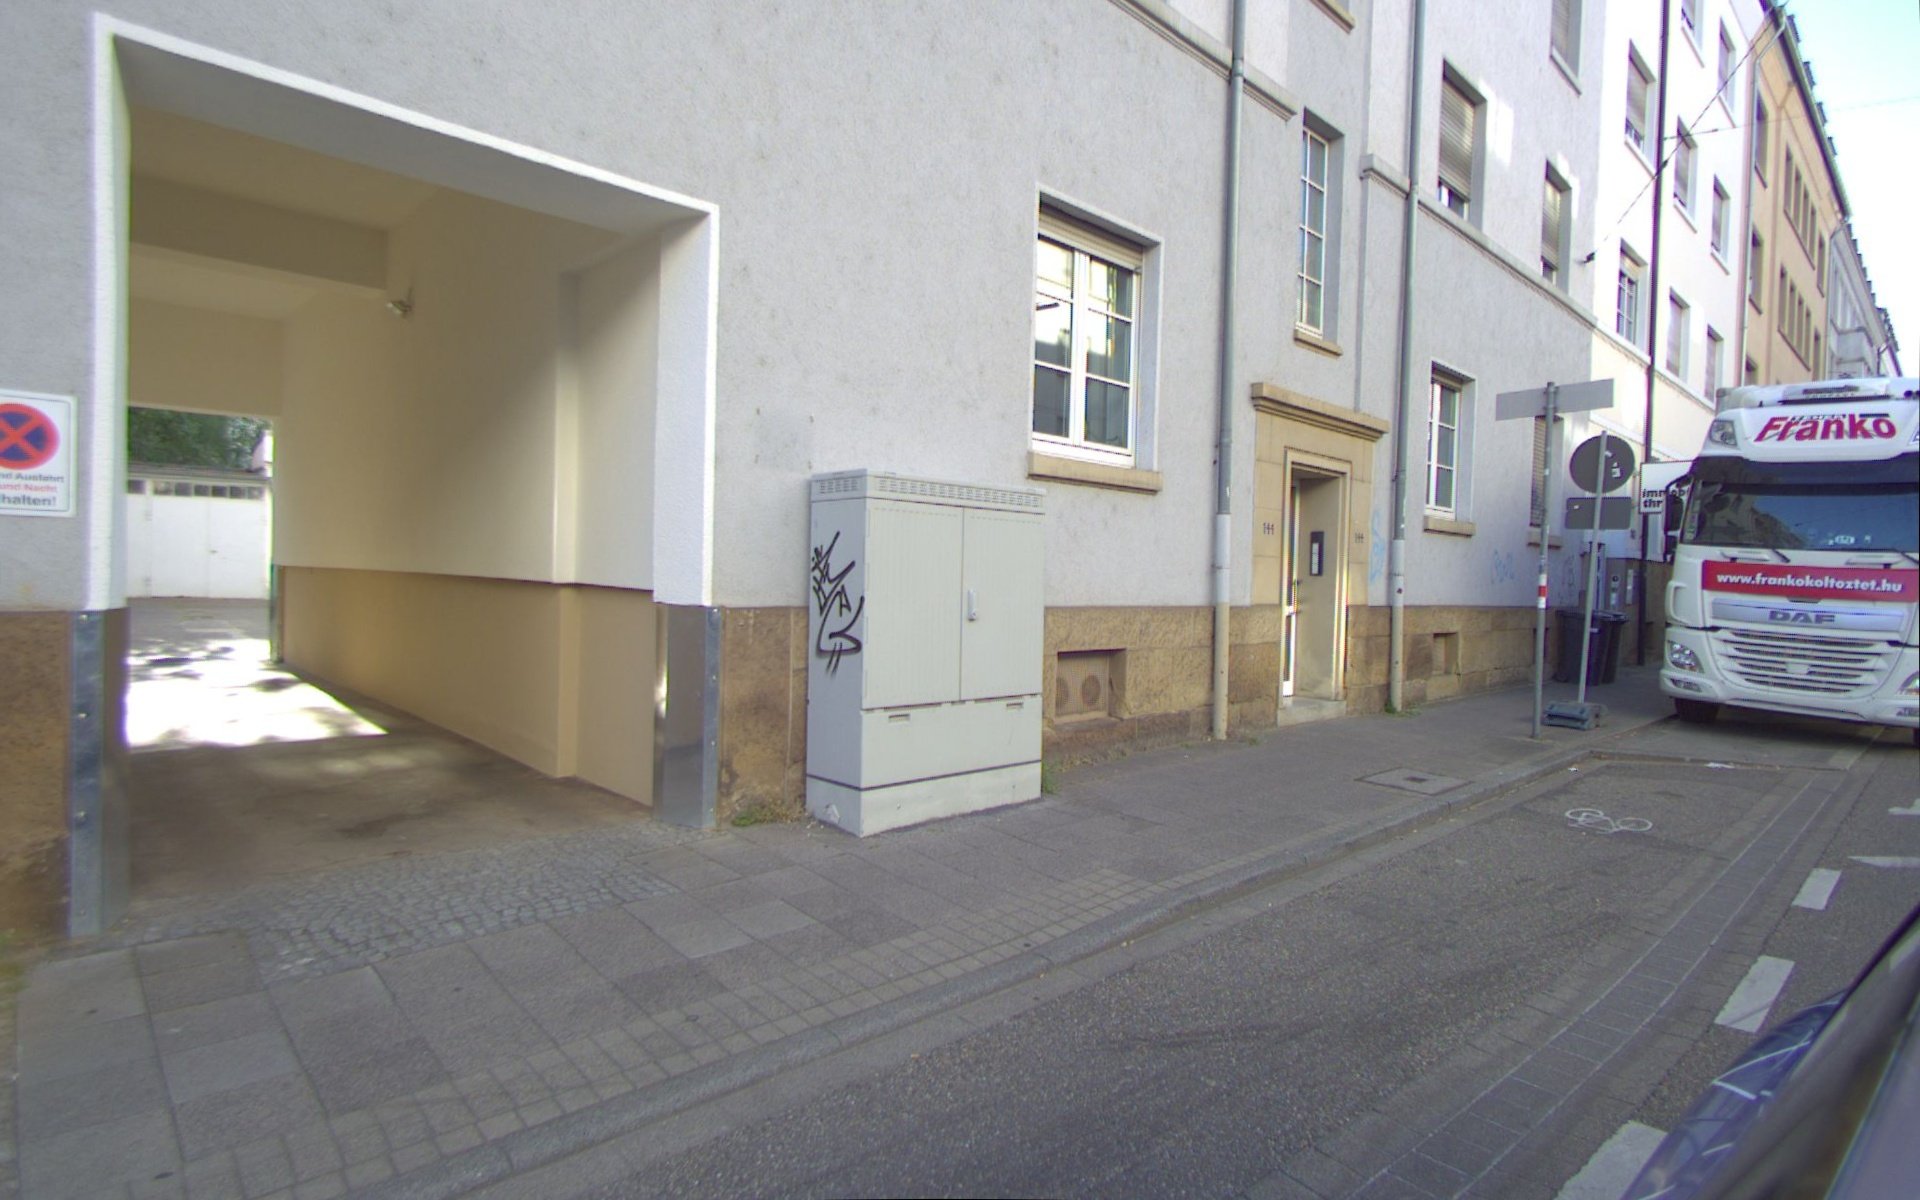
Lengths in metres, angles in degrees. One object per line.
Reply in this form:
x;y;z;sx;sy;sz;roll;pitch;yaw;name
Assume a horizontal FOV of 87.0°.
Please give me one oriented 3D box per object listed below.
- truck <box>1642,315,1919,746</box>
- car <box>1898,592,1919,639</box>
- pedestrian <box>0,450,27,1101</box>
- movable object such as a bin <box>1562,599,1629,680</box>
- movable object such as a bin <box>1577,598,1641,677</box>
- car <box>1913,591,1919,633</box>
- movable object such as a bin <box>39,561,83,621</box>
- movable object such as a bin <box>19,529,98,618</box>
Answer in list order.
12.565;-0.678;13.879;11.621;3.975;2.778;0;2;-44;truck
33.491;0.531;34.735;4.080;1.551;1.681;0;0;-44;car
-2.902;0.400;2.498;0.854;1.590;0.875;1;3;-43;pedestrian
9.160;0.551;14.586;0.560;1.107;0.665;0;2;-43;movable object such as a bin
9.640;0.543;15.037;0.560;1.107;0.665;0;2;-43;movable object such as a bin
37.661;0.464;38.633;4.080;1.551;1.681;0;0;-44;car
-14.387;-0.149;16.193;0.518;0.922;0.580;0;2;-43;movable object such as a bin
-15.164;-0.456;17.011;0.946;1.426;1.597;0;2;-43;movable object such as a bin
